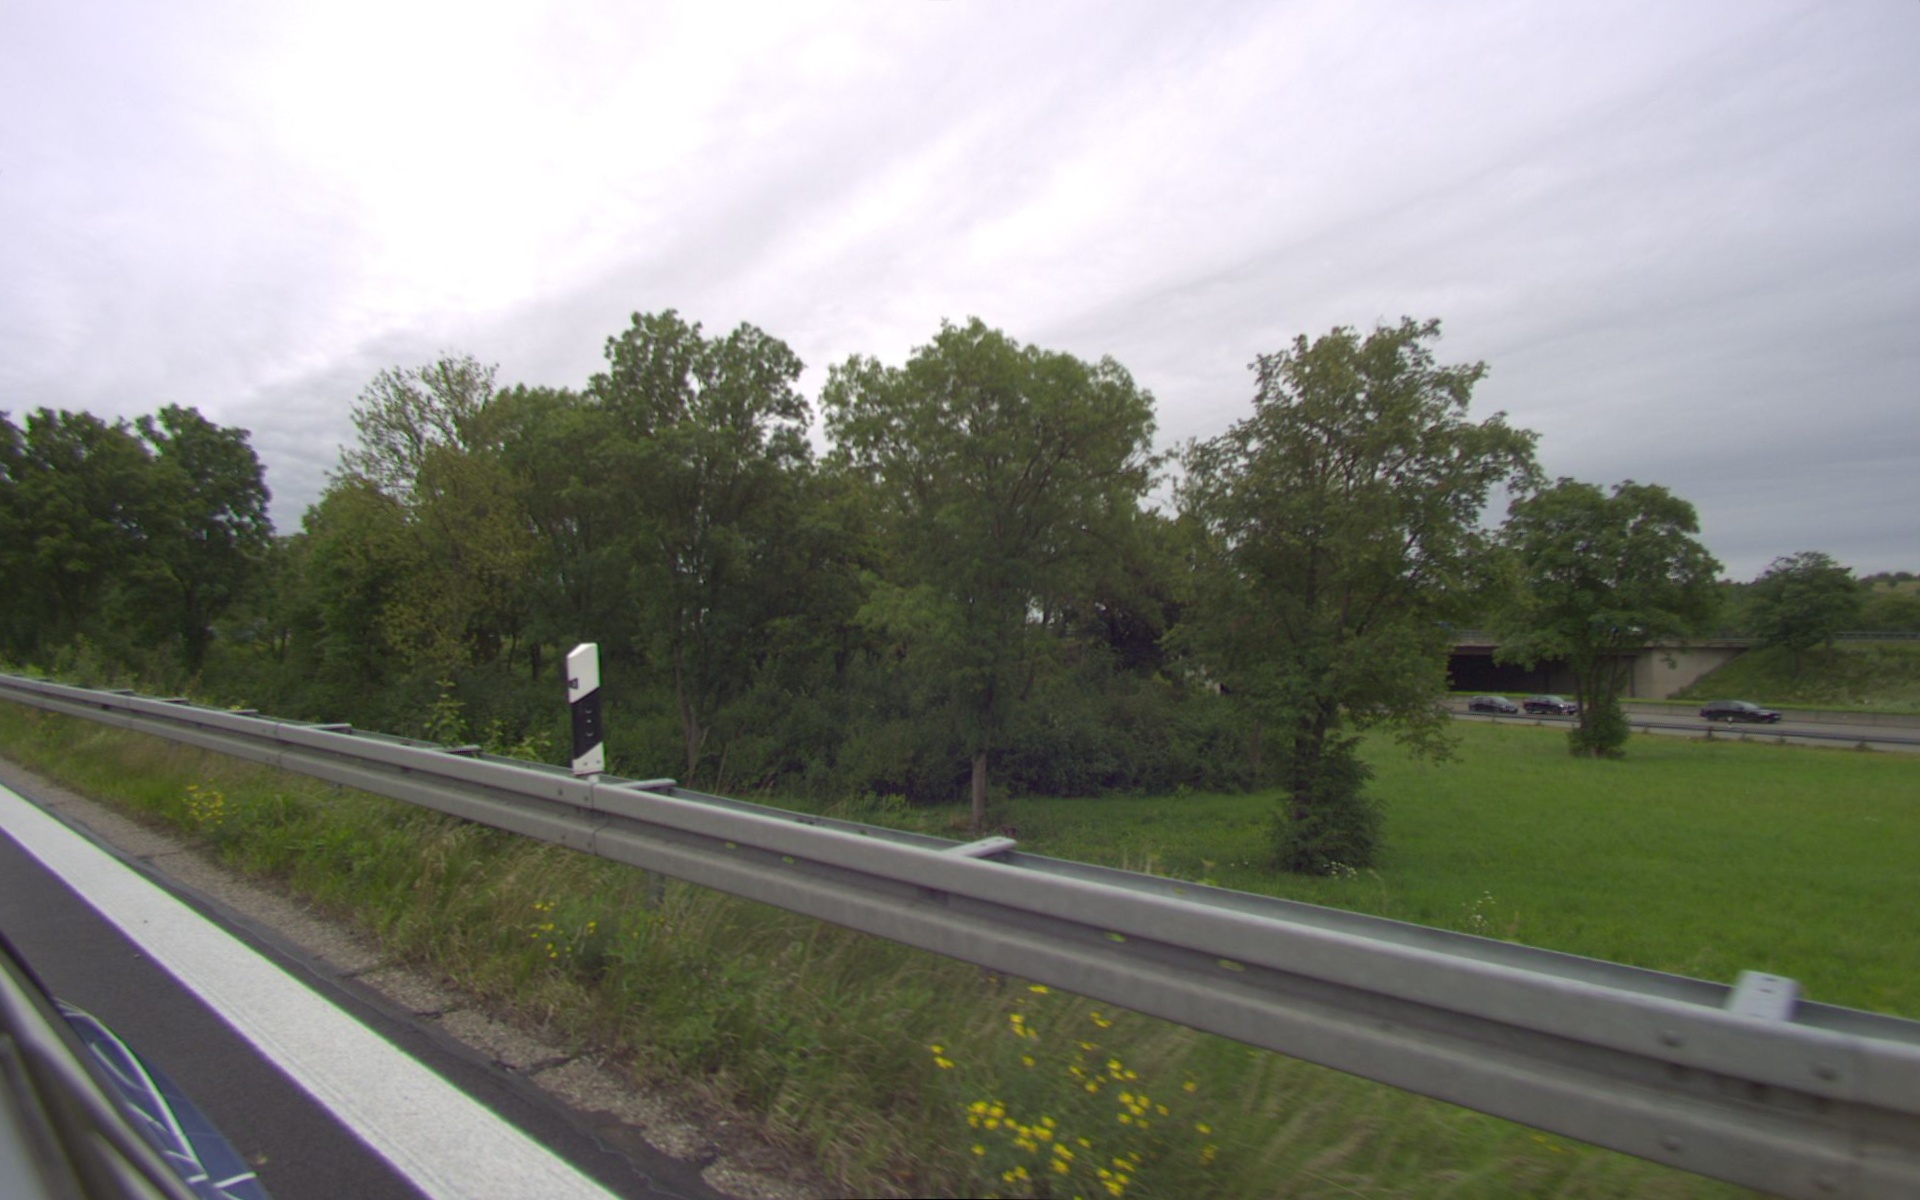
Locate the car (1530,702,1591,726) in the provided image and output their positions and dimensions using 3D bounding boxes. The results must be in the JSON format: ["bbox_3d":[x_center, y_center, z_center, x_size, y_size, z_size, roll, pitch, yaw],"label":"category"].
[{"bbox_3d":[48.691,9.234,82.151,1.967,1.785,4.010,3,-5,-13],"label":"car"}]
